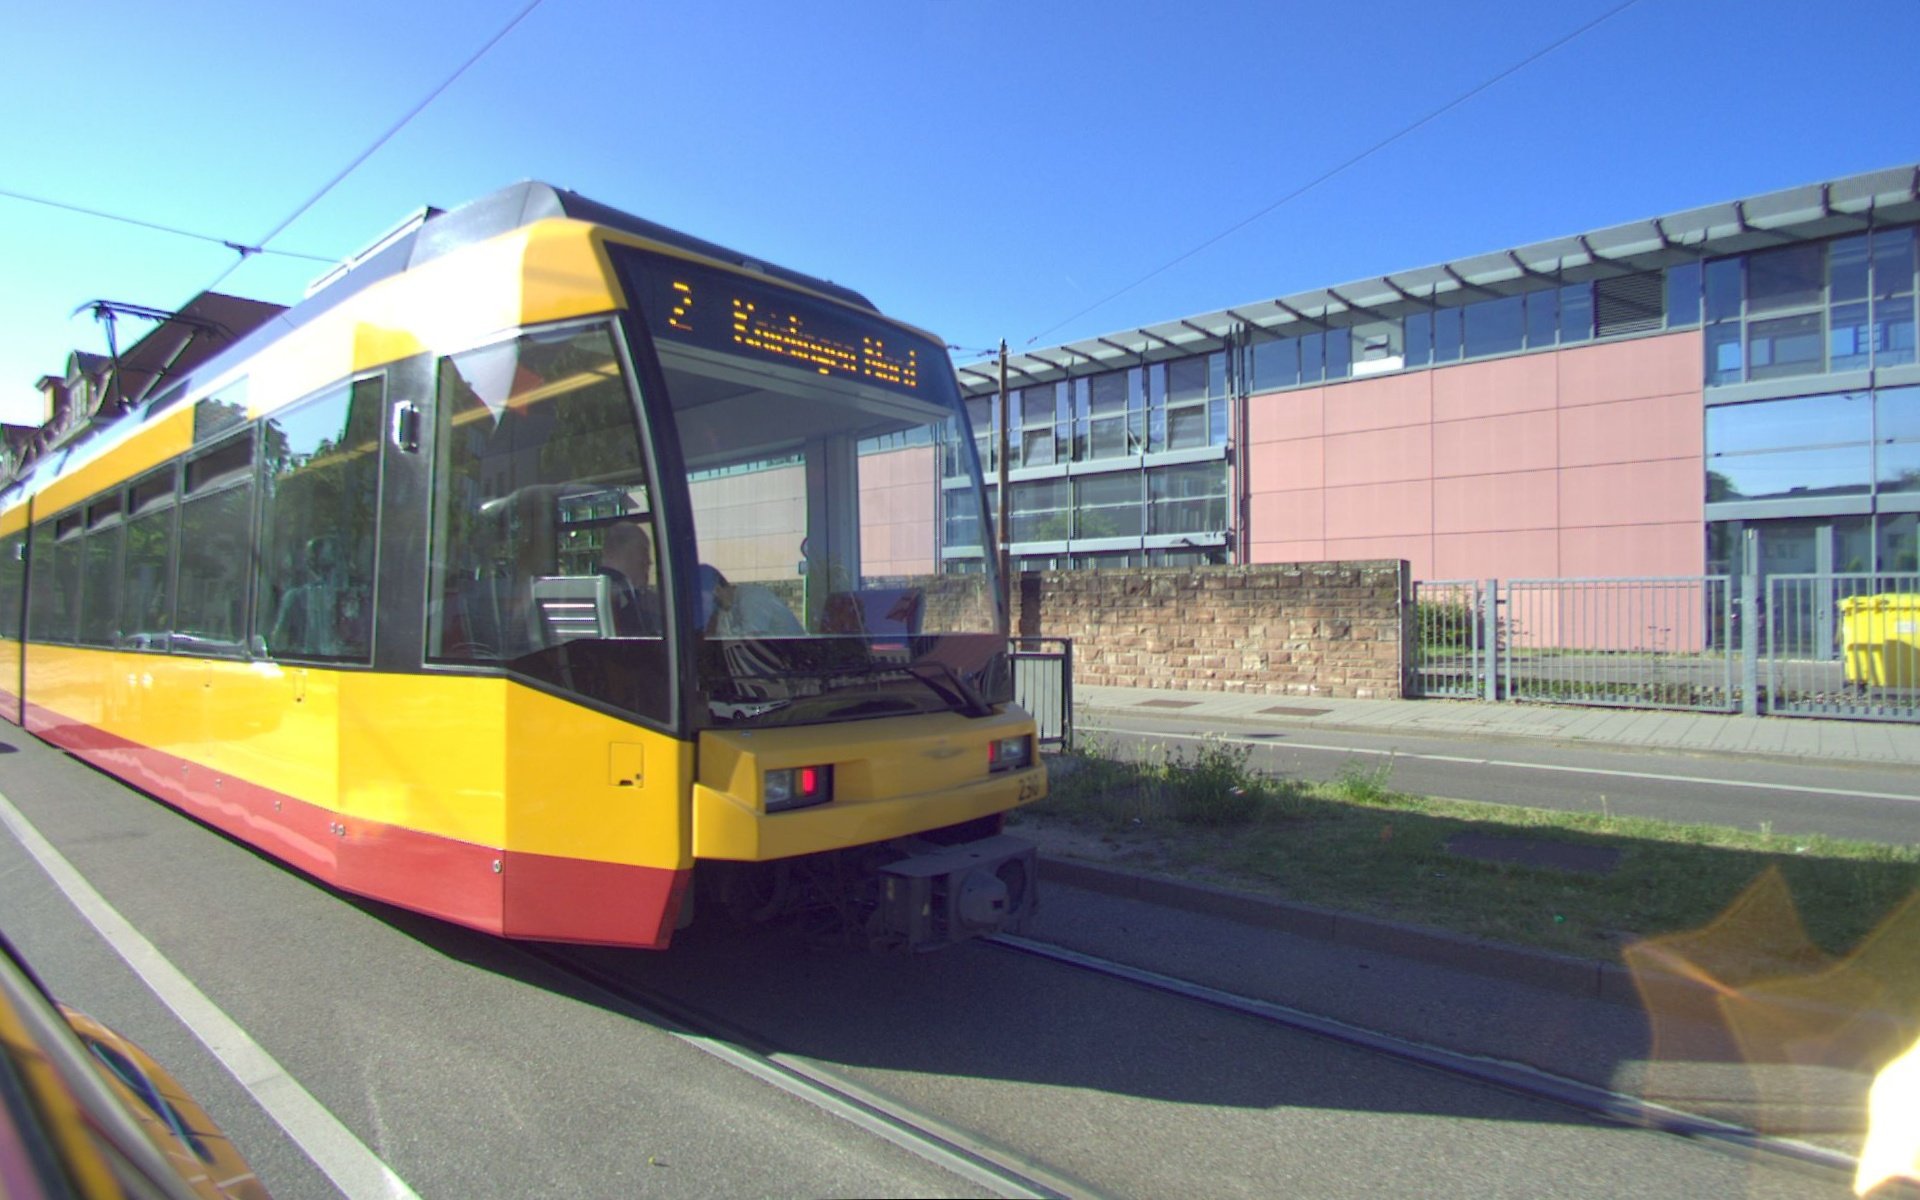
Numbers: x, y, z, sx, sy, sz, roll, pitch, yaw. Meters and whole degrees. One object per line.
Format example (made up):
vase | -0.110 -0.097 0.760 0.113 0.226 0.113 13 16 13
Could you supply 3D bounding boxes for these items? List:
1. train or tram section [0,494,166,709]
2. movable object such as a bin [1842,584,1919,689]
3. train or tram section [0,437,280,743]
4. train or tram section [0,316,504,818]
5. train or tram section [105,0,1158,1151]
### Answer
train or tram section | -17.538 0.078 19.181 6.665 3.486 2.774 -1 -1 41
movable object such as a bin | 12.016 0.452 12.746 1.308 1.295 0.872 -1 -1 40
train or tram section | -12.530 -0.059 14.735 6.665 3.486 2.774 -1 -1 41
train or tram section | -7.521 -0.178 10.288 6.665 3.486 2.774 -1 -1 41
train or tram section | -2.511 -0.299 5.835 6.665 3.486 2.774 -1 -1 41
